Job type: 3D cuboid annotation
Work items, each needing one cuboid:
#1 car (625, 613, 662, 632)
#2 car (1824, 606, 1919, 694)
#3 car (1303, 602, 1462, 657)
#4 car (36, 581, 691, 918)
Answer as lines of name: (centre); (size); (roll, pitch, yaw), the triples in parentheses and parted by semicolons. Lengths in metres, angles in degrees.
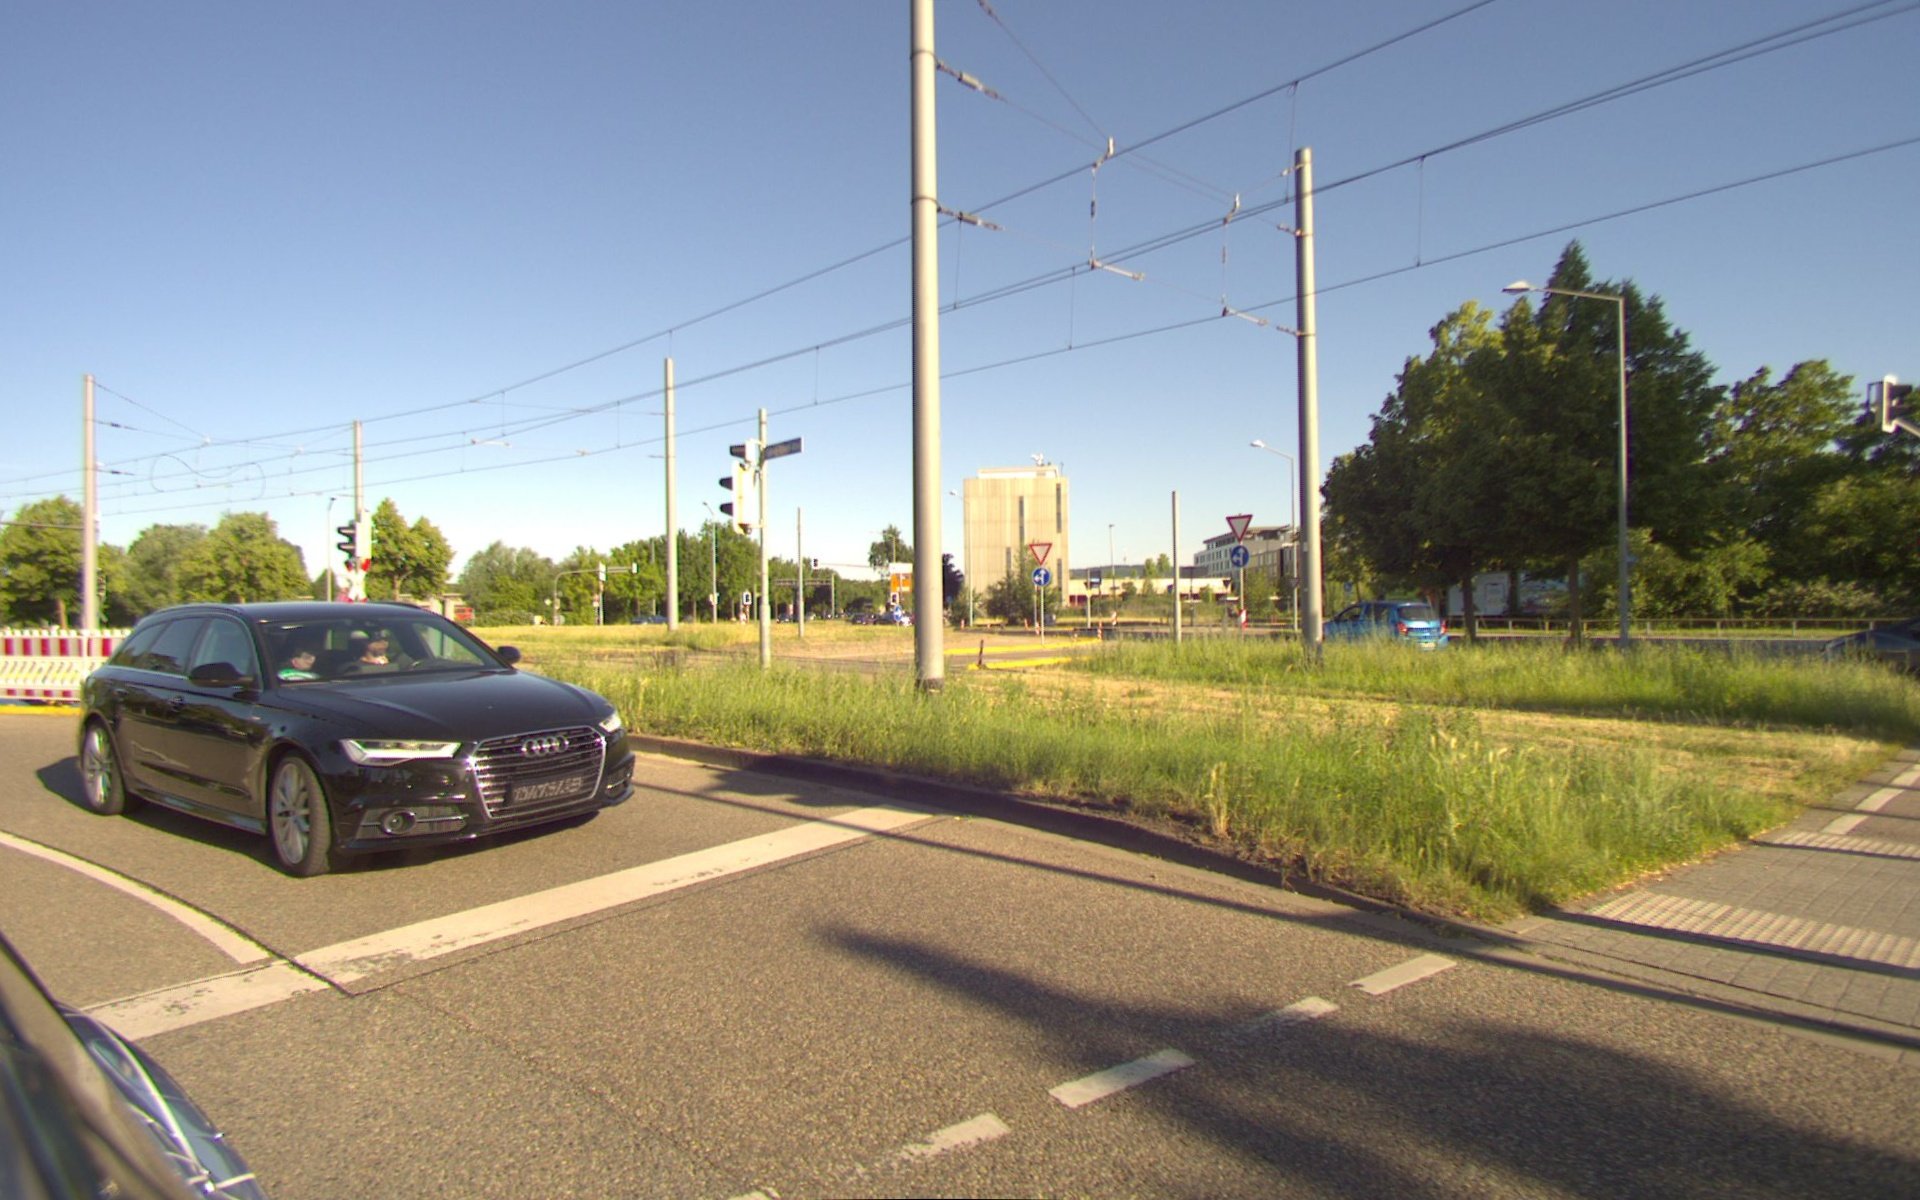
car: (-26.008, 1.838, 83.326); (1.777, 1.439, 4.011); (0, 0, 0)
car: (16.389, 0.801, 16.160); (1.636, 1.406, 3.622); (1, -2, -33)
car: (10.781, 0.702, 26.074); (1.636, 1.274, 3.633); (-1, 0, -25)
car: (-4.072, 0.697, 6.672); (4.585, 1.538, 1.771); (-1, 2, 32)
